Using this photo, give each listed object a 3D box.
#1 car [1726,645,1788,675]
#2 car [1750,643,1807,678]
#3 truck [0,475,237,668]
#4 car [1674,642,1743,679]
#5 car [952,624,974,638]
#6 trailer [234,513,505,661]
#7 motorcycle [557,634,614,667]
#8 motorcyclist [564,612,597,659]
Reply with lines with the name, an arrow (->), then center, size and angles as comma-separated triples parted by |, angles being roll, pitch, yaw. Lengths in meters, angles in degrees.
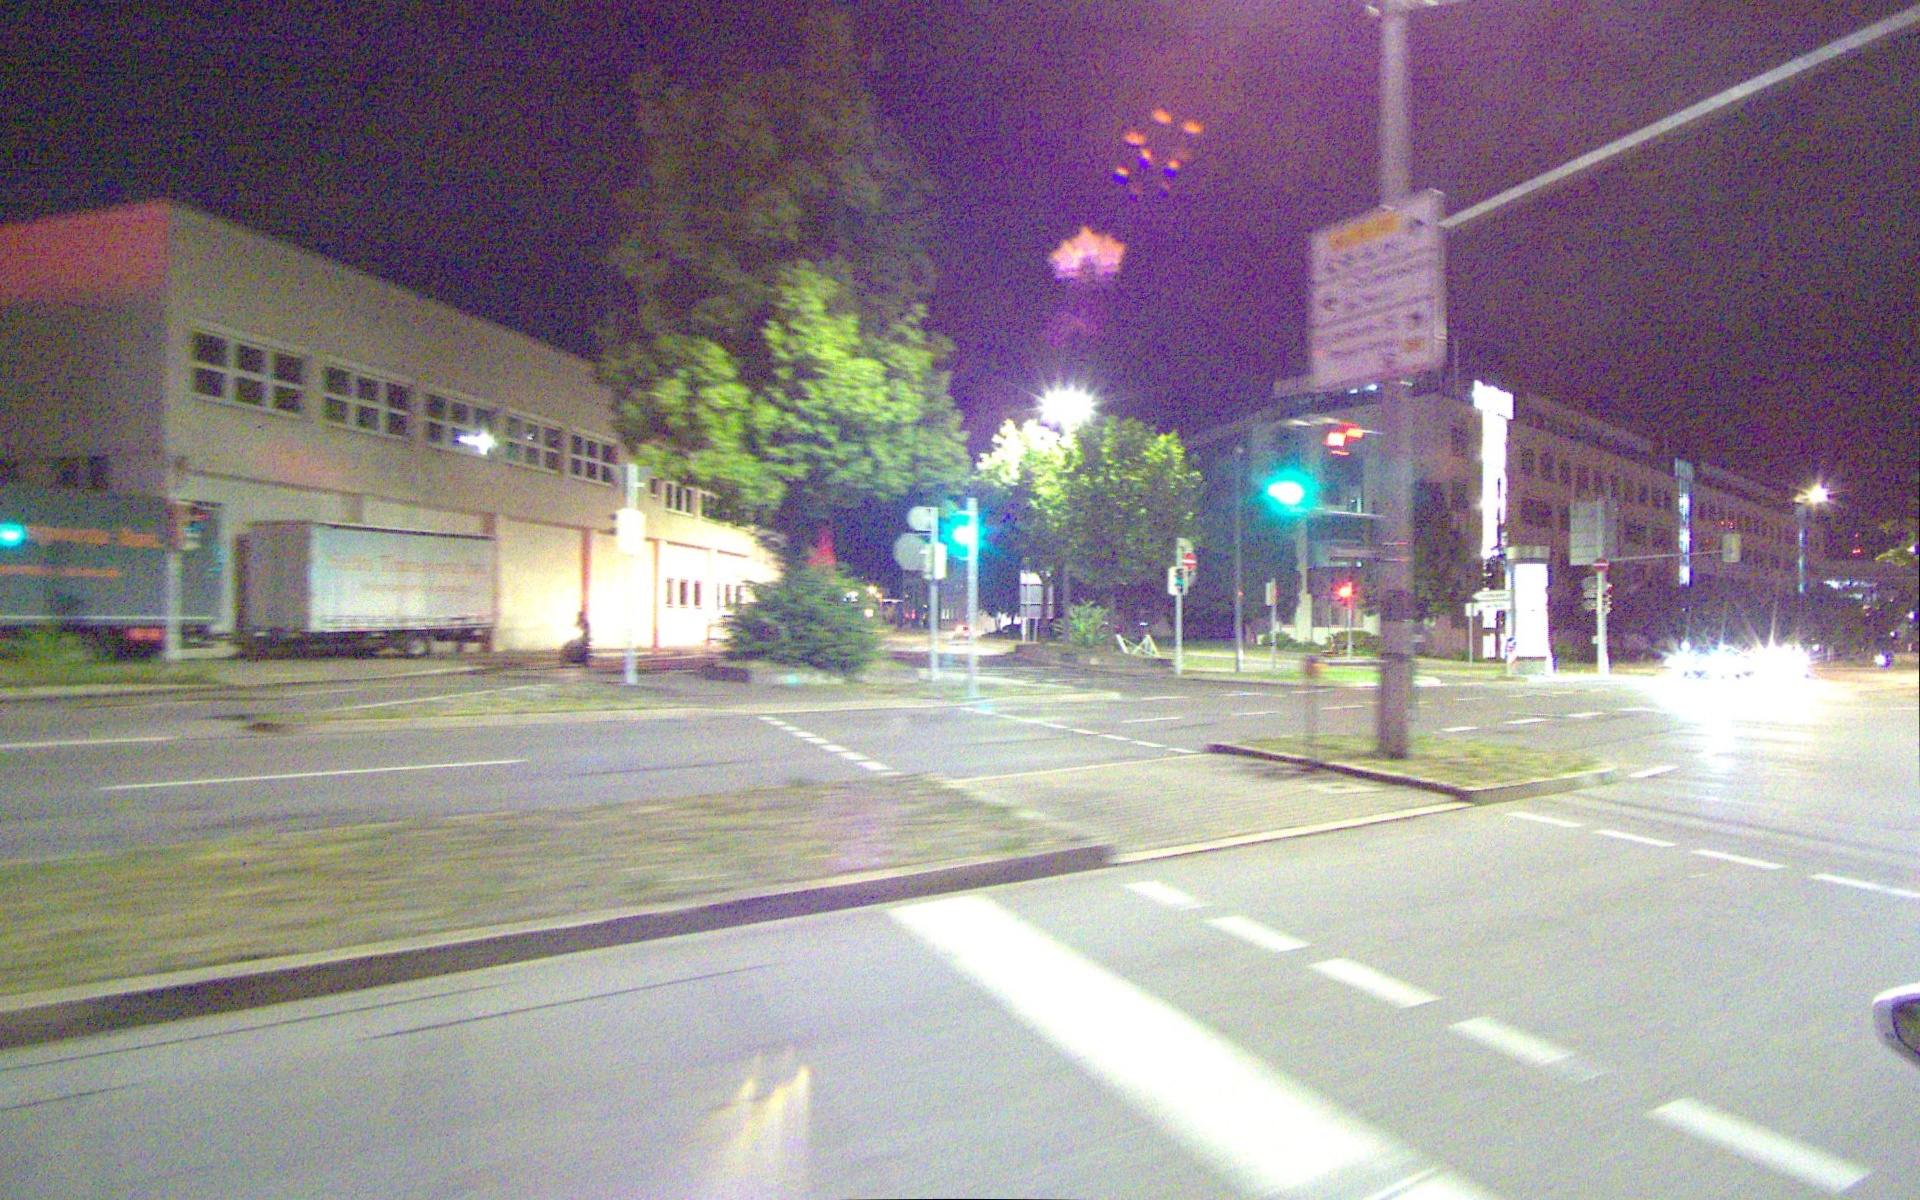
car -> 39.392, 2.971, 49.652 | 3.519, 1.339, 1.743 | 3, -2, -40
car -> 43.409, 3.205, 53.253 | 3.519, 1.750, 1.743 | 3, -2, -40
truck -> -20.687, -0.614, 20.338 | 2.891, 3.846, 9.553 | 1, -2, 24
car -> 33.593, 2.720, 45.064 | 3.967, 1.535, 1.602 | 3, -2, -40
car -> 0.327, 3.454, 113.218 | 1.679, 1.511, 3.991 | 2, -2, -12
trailer -> -16.946, -0.233, 29.430 | 2.571, 3.840, 6.513 | 1, -2, 22
motorcycle -> -10.652, 1.424, 28.632 | 0.568, 0.907, 2.157 | -1, -2, 8
motorcyclist -> -10.721, 1.008, 28.403 | 0.635, 1.278, 0.579 | 2, -1, 8
